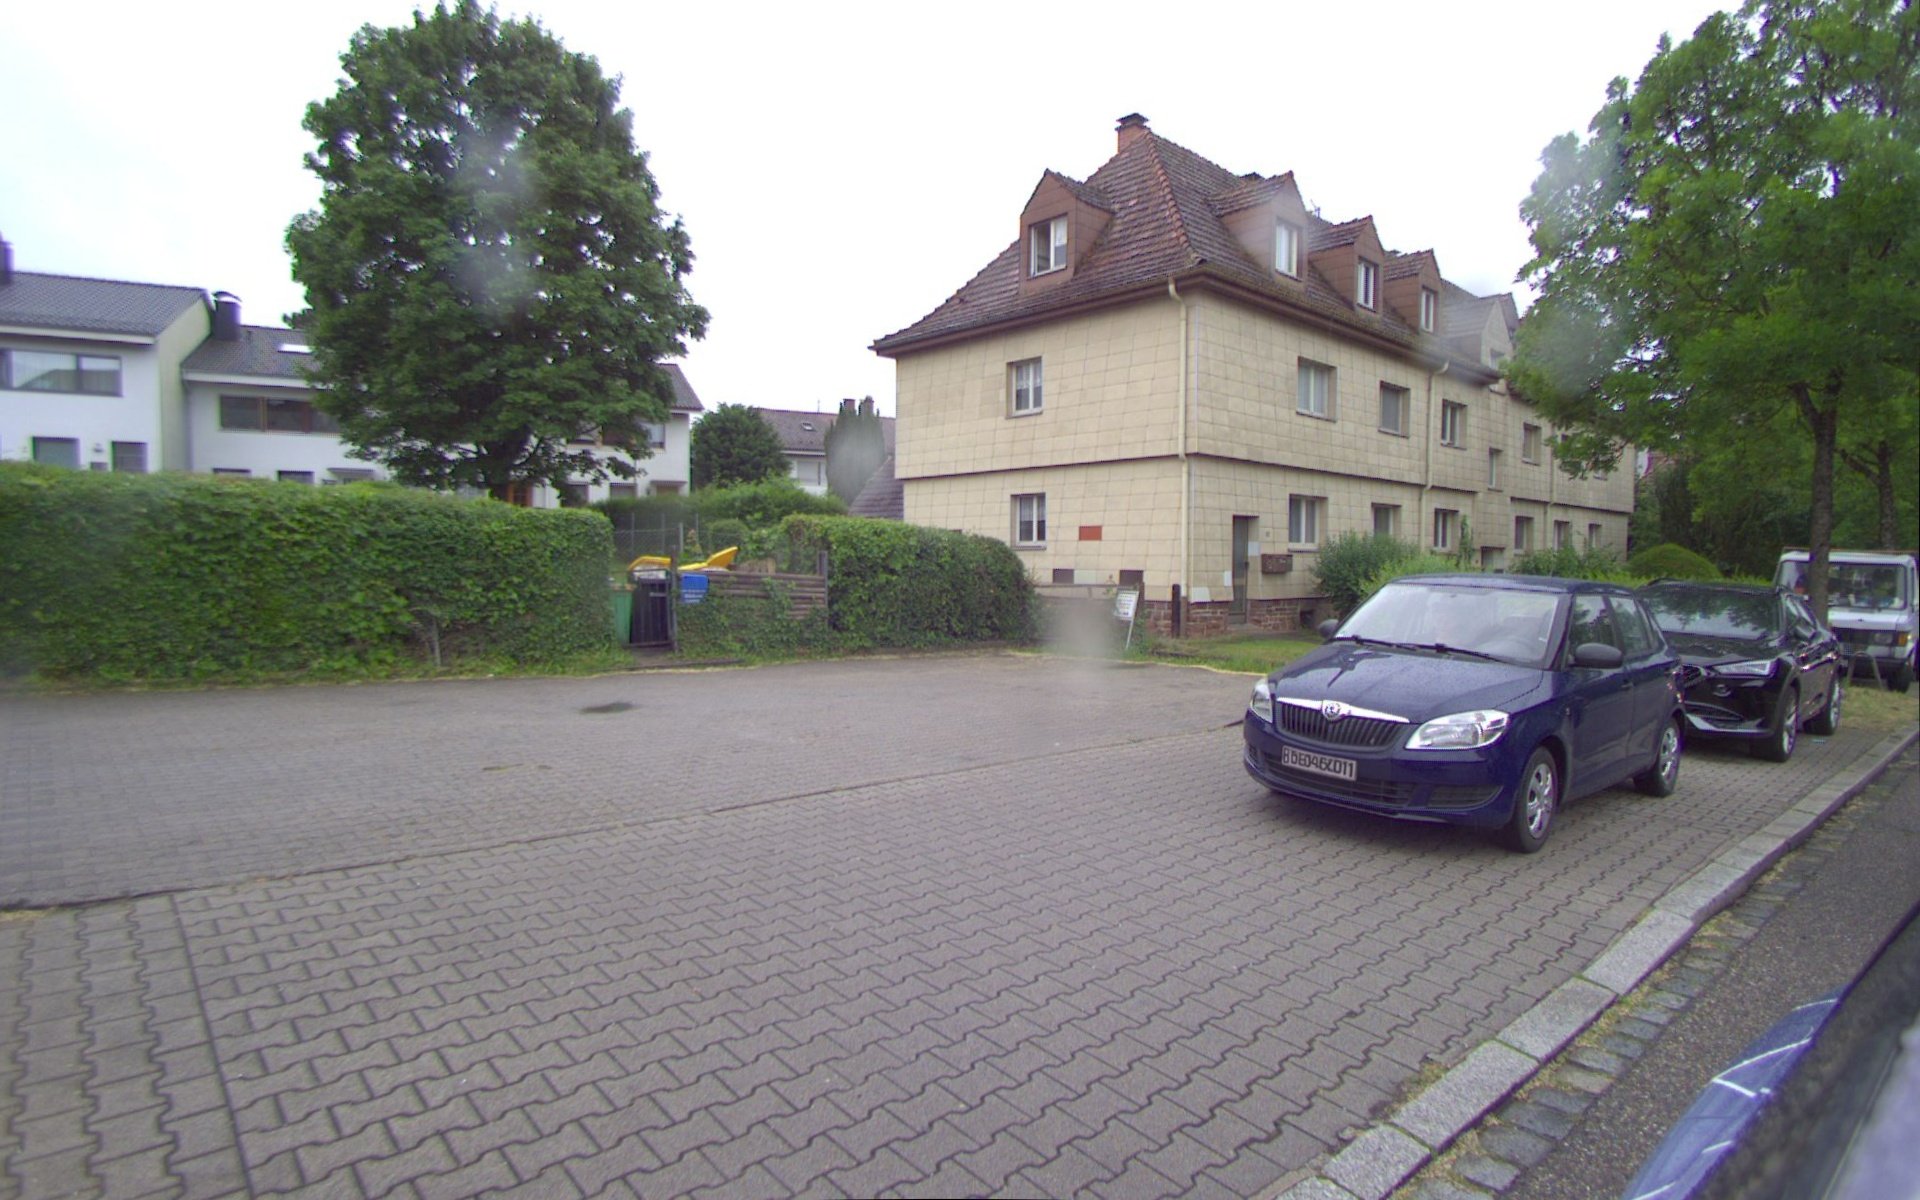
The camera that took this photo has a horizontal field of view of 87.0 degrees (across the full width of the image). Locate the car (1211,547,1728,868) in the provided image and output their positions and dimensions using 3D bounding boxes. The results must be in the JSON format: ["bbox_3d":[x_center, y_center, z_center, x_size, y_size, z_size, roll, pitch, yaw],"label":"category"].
[{"bbox_3d":[3.468,0.483,6.596,3.788,1.490,1.608,0,3,-40],"label":"car"}]

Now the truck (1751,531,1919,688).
[{"bbox_3d":[15.882,0.091,17.736,6.392,2.248,2.084,0,4,-43],"label":"truck"}]

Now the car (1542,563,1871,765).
[{"bbox_3d":[7.487,0.487,9.995,4.111,1.516,1.718,0,4,-42],"label":"car"}]

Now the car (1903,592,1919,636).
[{"bbox_3d":[33.576,0.502,34.519,4.424,1.406,1.691,0,4,-43],"label":"car"}]

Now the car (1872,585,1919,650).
[{"bbox_3d":[23.999,0.516,25.034,3.951,1.454,1.605,3,3,-42],"label":"car"}]
